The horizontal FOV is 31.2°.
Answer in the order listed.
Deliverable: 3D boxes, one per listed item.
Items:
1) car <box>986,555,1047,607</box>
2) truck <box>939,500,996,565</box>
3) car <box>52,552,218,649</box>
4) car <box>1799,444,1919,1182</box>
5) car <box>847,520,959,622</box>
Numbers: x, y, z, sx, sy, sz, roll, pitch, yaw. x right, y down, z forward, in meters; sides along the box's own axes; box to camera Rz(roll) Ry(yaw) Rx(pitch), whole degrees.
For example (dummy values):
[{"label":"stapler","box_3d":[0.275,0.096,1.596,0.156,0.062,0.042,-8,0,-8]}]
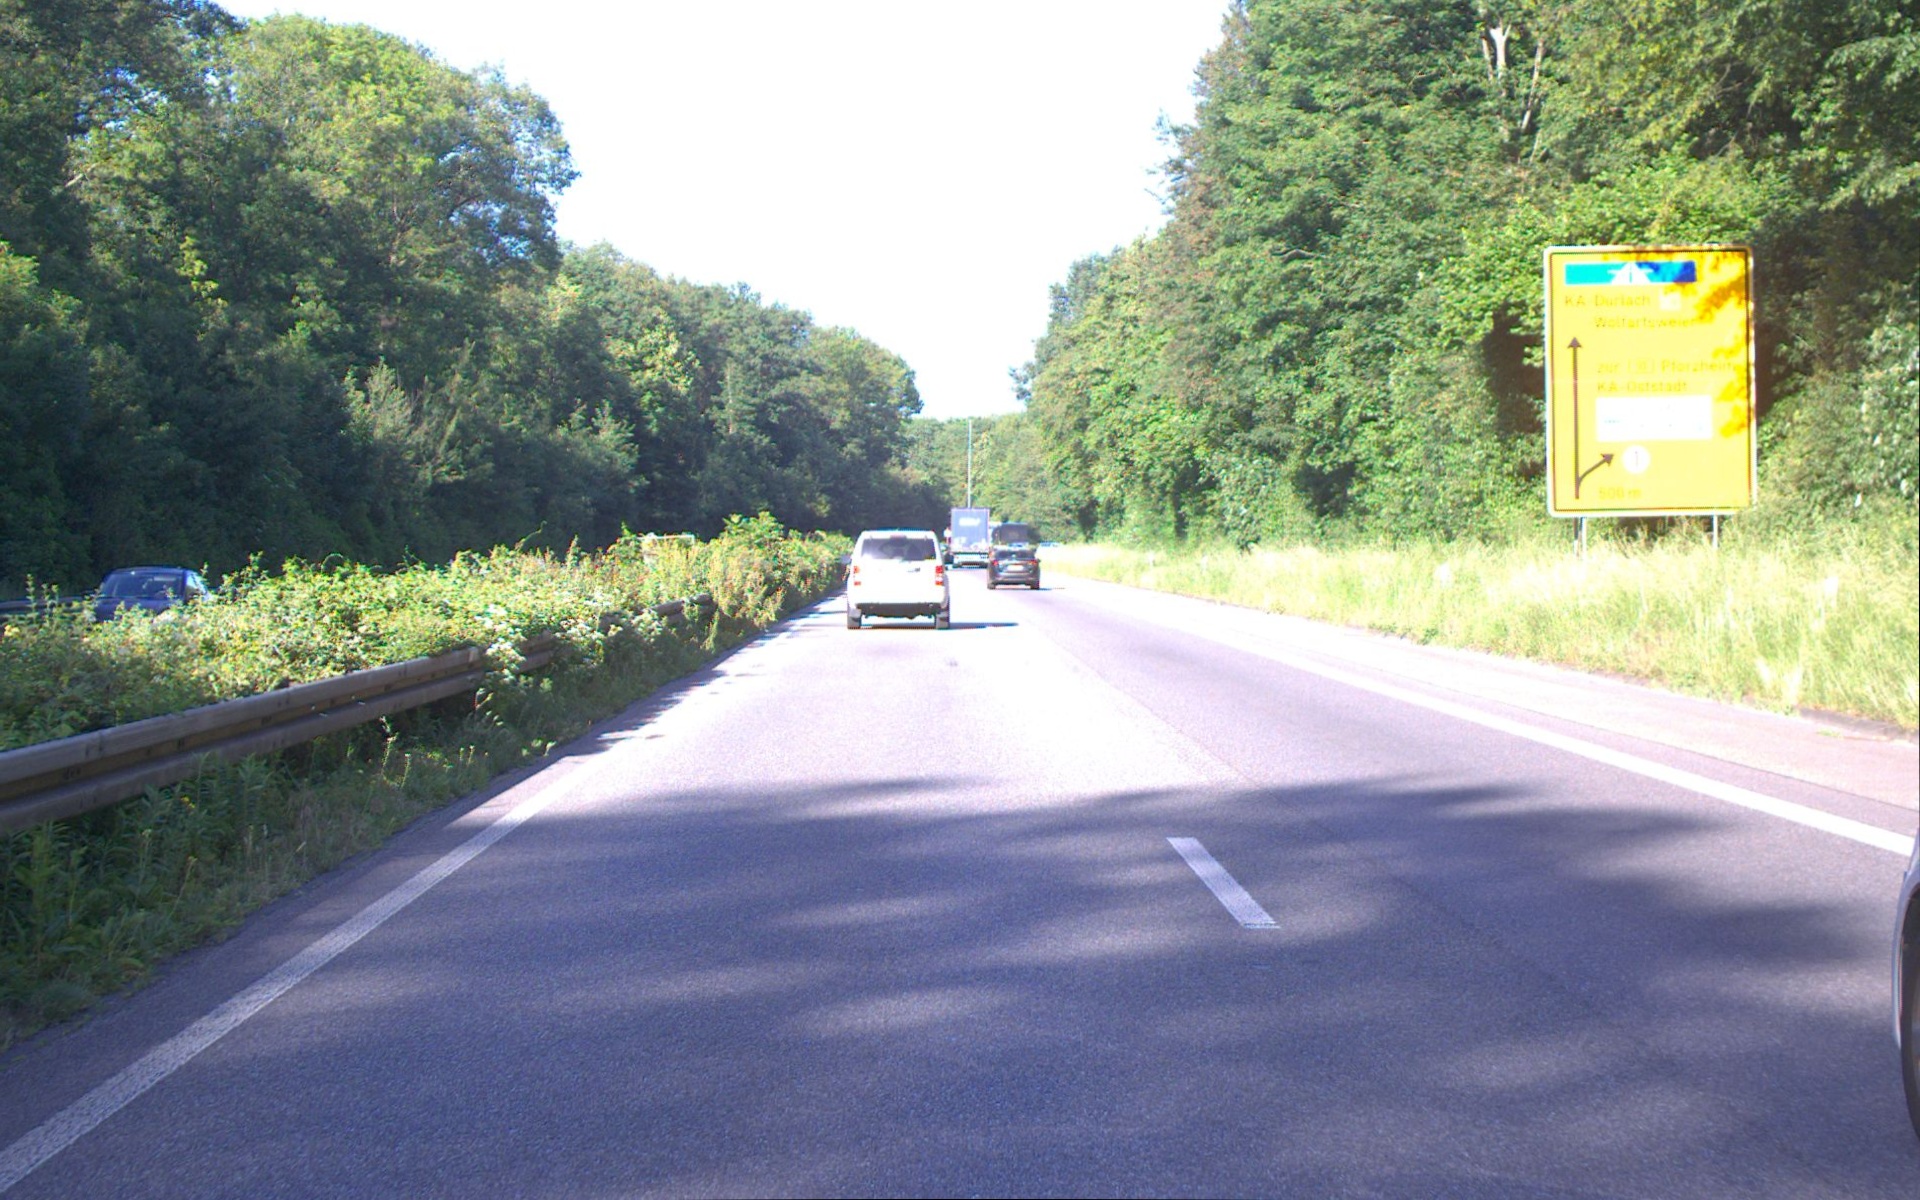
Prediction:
[{"label":"car","box_3d":[1.971,-0.674,121.112,1.951,1.776,4.588,1,1,-1]},{"label":"truck","box_3d":[0.495,-4.526,233.040,3.734,4.328,9.305,1,1,0]},{"label":"car","box_3d":[-13.137,-0.007,54.943,1.763,1.468,3.792,1,1,-1]},{"label":"car","box_3d":[3.277,0.541,7.237,1.799,1.807,4.588,1,1,-1]},{"label":"car","box_3d":[-1.040,-0.529,62.830,1.951,1.776,4.588,1,1,-1]}]
